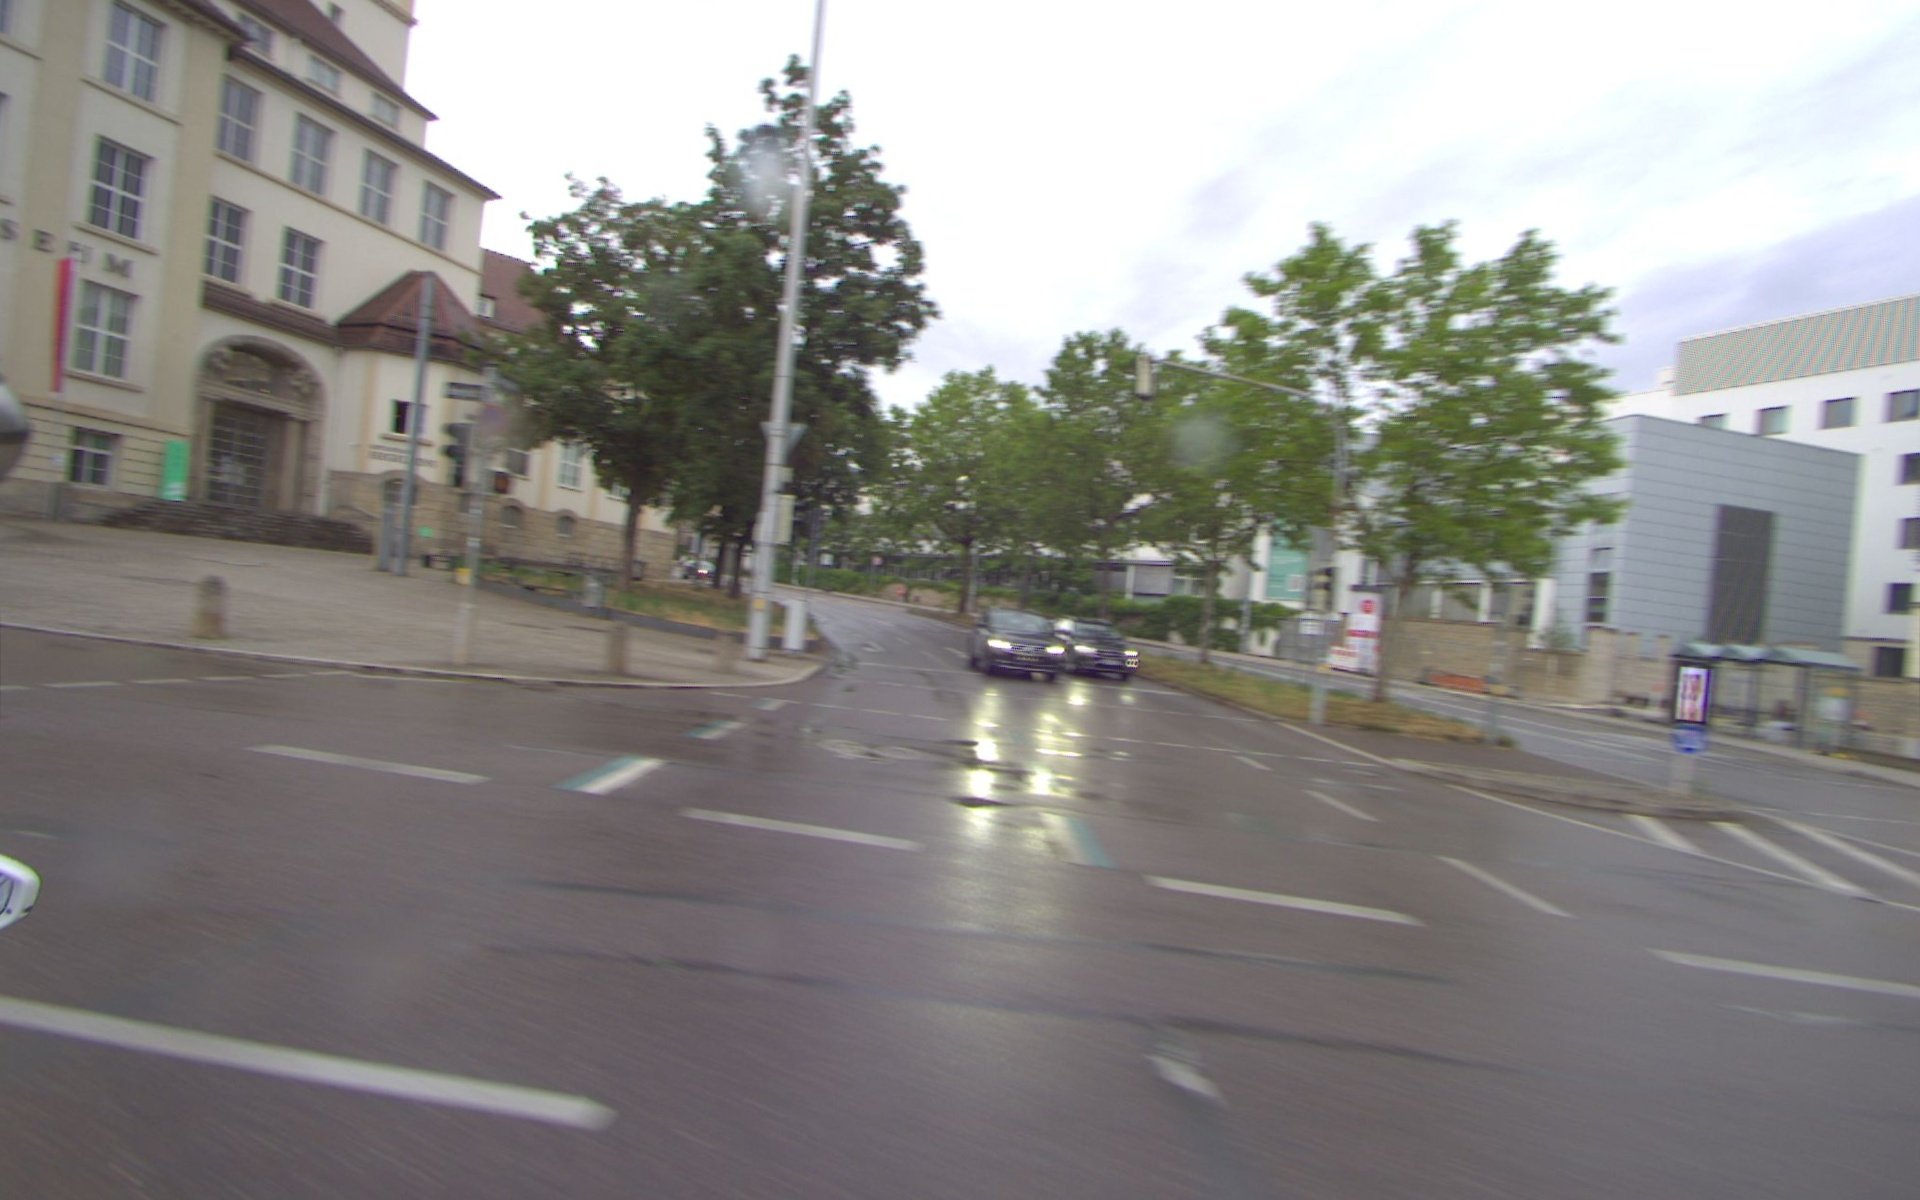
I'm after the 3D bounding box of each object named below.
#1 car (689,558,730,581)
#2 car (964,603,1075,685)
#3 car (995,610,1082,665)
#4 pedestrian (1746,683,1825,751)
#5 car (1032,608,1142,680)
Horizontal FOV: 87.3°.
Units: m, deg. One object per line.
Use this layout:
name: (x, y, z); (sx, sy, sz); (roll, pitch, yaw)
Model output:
car: (-19.516, -2.375, 78.361); (1.777, 1.460, 3.963); (6, 1, -34)
car: (1.378, 1.020, 25.263); (1.841, 1.585, 4.268); (6, 1, -8)
car: (2.624, 1.230, 34.643); (1.765, 1.459, 3.989); (6, 0, -12)
pedestrian: (24.016, 3.393, 29.296); (1.237, 1.740, 1.017); (8, 0, 7)
car: (3.549, 1.211, 28.922); (1.765, 1.605, 3.989); (6, 0, -12)
